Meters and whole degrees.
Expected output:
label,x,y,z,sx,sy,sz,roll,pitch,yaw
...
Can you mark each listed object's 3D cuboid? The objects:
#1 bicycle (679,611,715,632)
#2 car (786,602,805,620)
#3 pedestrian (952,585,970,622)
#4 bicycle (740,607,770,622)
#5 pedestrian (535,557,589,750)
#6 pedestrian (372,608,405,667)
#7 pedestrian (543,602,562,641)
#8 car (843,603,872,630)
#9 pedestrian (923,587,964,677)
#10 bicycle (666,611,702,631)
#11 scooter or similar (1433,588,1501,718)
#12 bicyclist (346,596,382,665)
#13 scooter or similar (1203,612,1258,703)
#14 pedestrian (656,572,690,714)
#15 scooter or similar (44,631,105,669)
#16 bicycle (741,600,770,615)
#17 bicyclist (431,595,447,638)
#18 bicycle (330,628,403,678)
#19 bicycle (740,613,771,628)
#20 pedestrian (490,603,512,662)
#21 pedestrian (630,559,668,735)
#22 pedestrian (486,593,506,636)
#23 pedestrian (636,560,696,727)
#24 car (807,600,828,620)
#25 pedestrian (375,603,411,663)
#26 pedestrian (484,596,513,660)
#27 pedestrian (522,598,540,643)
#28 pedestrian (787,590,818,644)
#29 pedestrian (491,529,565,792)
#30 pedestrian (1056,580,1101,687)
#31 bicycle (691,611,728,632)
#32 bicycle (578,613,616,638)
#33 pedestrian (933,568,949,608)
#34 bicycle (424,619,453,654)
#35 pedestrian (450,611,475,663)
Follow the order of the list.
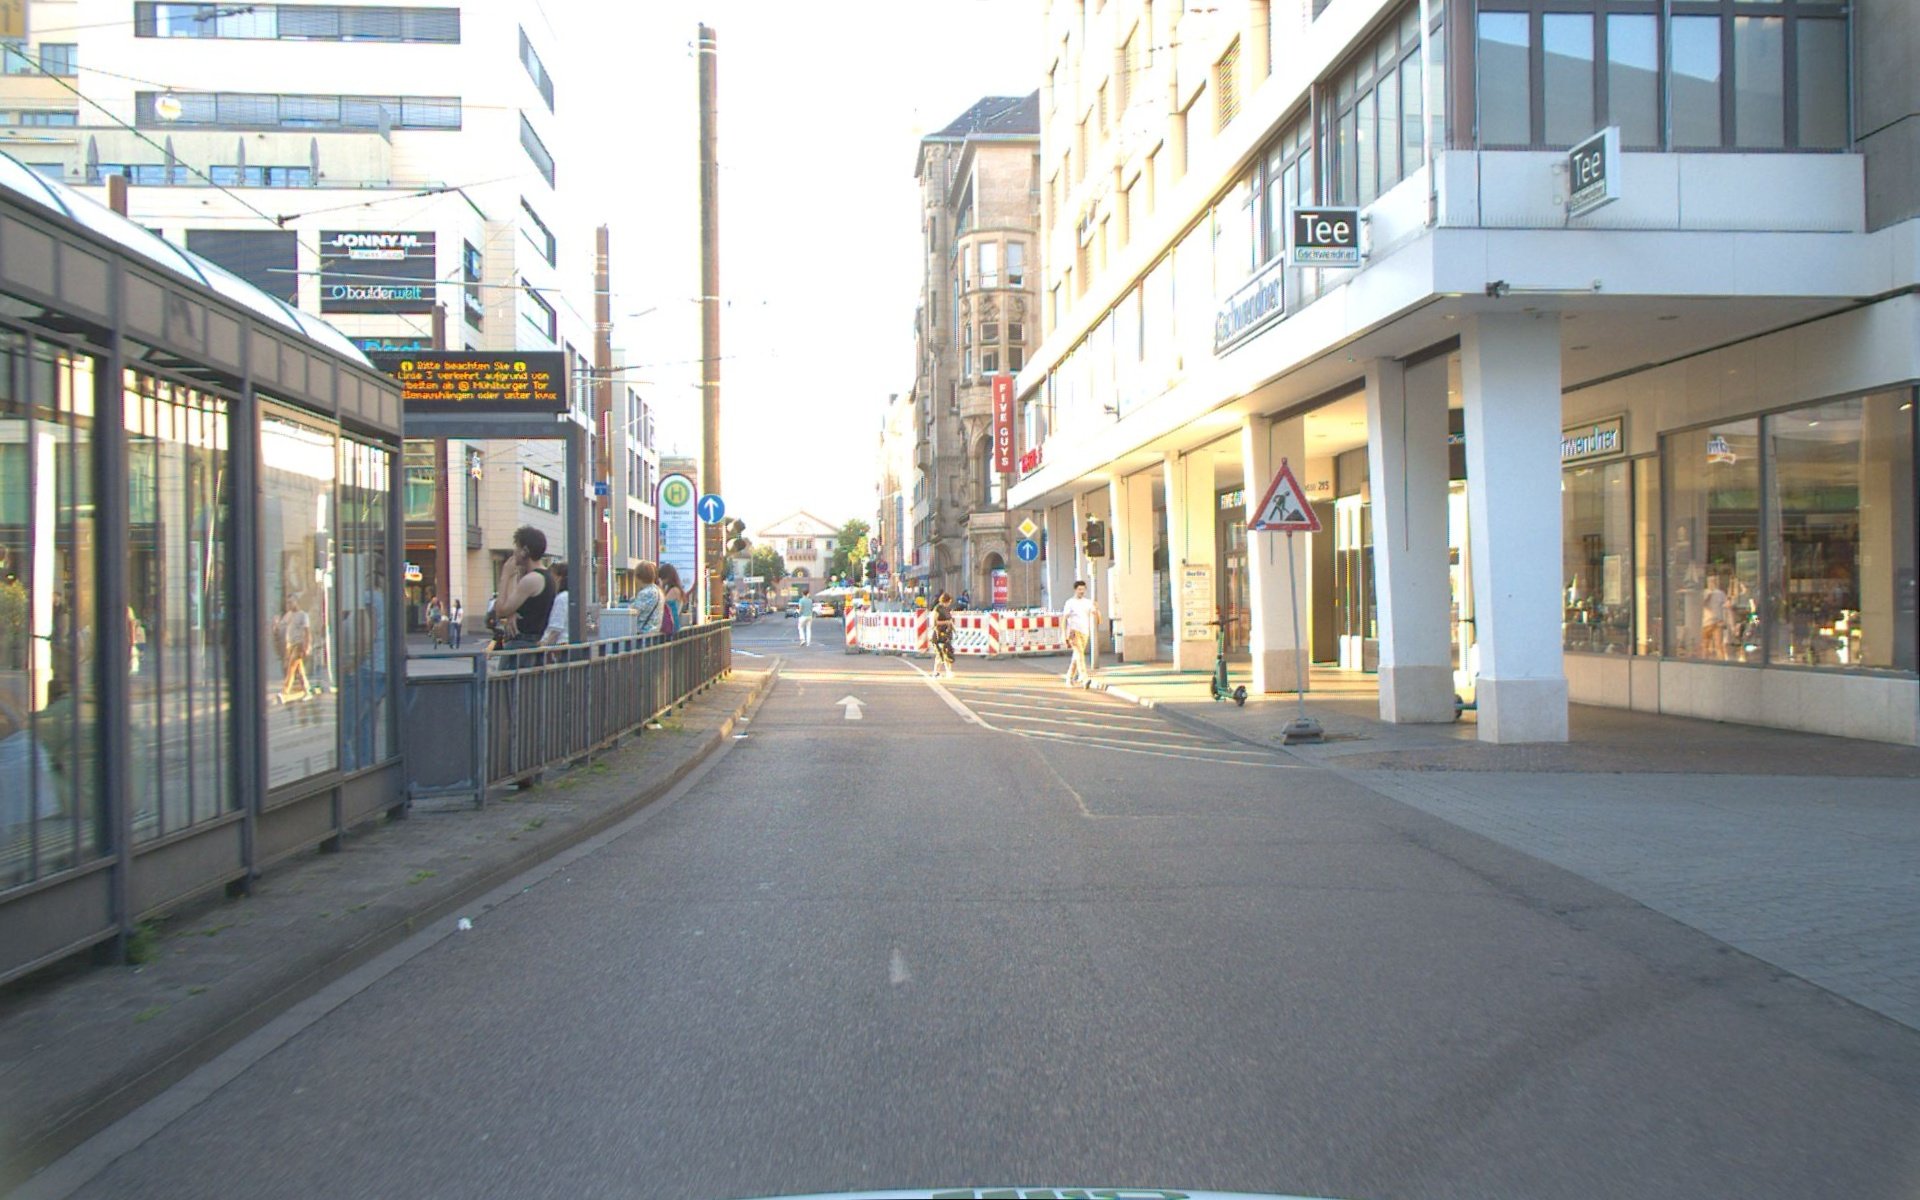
label,x,y,z,sx,sy,sz,roll,pitch,yaw
bicycle,-14.747,1.200,92.762,1.950,1.141,0.551,1,-1,-34
car,-17.707,1.224,178.399,1.955,1.937,3.995,1,-1,-5
pedestrian,0.047,0.145,73.380,0.697,1.639,0.821,1,-1,-7
bicycle,-14.640,1.020,118.244,2.105,1.047,0.640,-1,0,-3
pedestrian,-3.507,0.465,14.593,0.378,1.671,0.548,1,-1,-7
pedestrian,-16.101,1.048,46.605,0.762,1.642,0.660,-1,0,-30
pedestrian,-18.812,0.996,76.284,0.767,1.782,0.599,1,-1,-8
car,-6.540,1.056,105.222,1.646,1.641,4.023,-2,0,-5
pedestrian,-0.314,0.615,31.989,0.687,1.723,0.539,1,-1,-12
bicycle,-15.606,1.198,93.540,1.950,1.141,0.551,1,-1,-34
scooter or similar,6.123,0.622,20.028,0.307,1.514,1.313,-1,0,-5
bicyclist,-14.287,0.727,39.640,0.777,1.621,0.607,-1,-1,-19
scooter or similar,3.855,0.802,23.616,0.495,1.256,1.178,-1,0,-5
pedestrian,-3.418,0.512,19.722,0.350,1.671,0.502,1,-1,-7
scooter or similar,-22.563,1.262,42.153,1.071,0.920,0.889,-1,0,-4
bicycle,-15.098,0.532,122.021,2.105,1.047,0.640,-1,0,-3
bicyclist,-17.549,0.551,55.692,0.413,1.452,0.562,1,-1,-11
bicycle,-14.218,1.262,39.641,1.594,1.123,0.627,-1,-1,-17
bicycle,-14.714,1.489,119.033,2.105,1.047,0.640,-1,0,-3
pedestrian,-12.815,0.902,46.131,0.561,1.621,0.446,0,-1,-19
pedestrian,-3.279,0.493,17.441,0.335,1.827,0.544,1,-1,-7
pedestrian,-20.457,0.651,72.904,0.560,1.887,0.817,0,-1,7
pedestrian,-3.214,0.470,18.133,0.528,1.798,0.594,1,-1,0
car,-13.862,0.952,160.813,1.955,1.937,3.995,1,-1,-5
pedestrian,-15.732,0.898,45.910,0.812,1.642,0.686,-1,0,-30
pedestrian,-12.659,0.774,45.385,0.732,1.730,0.607,-1,-1,-18
pedestrian,-16.409,0.797,63.266,0.518,1.703,0.650,-1,0,-4
pedestrian,-5.229,0.561,54.985,0.847,1.792,0.768,0,-1,7
pedestrian,-3.028,0.416,11.619,0.404,1.798,0.593,1,-1,-7
pedestrian,2.078,0.580,29.085,0.685,1.847,0.852,1,-1,-2
bicycle,-13.832,1.197,91.374,1.950,1.141,0.551,1,-1,-34
bicycle,-16.819,1.193,76.713,1.662,1.141,0.450,1,-1,-3
pedestrian,-0.809,-0.532,71.574,0.613,1.719,0.670,-1,-1,-7
bicycle,-17.586,1.221,55.822,0.562,1.117,2.019,1,-1,-7
pedestrian,-16.736,1.238,55.663,0.635,1.703,0.530,-1,0,3
